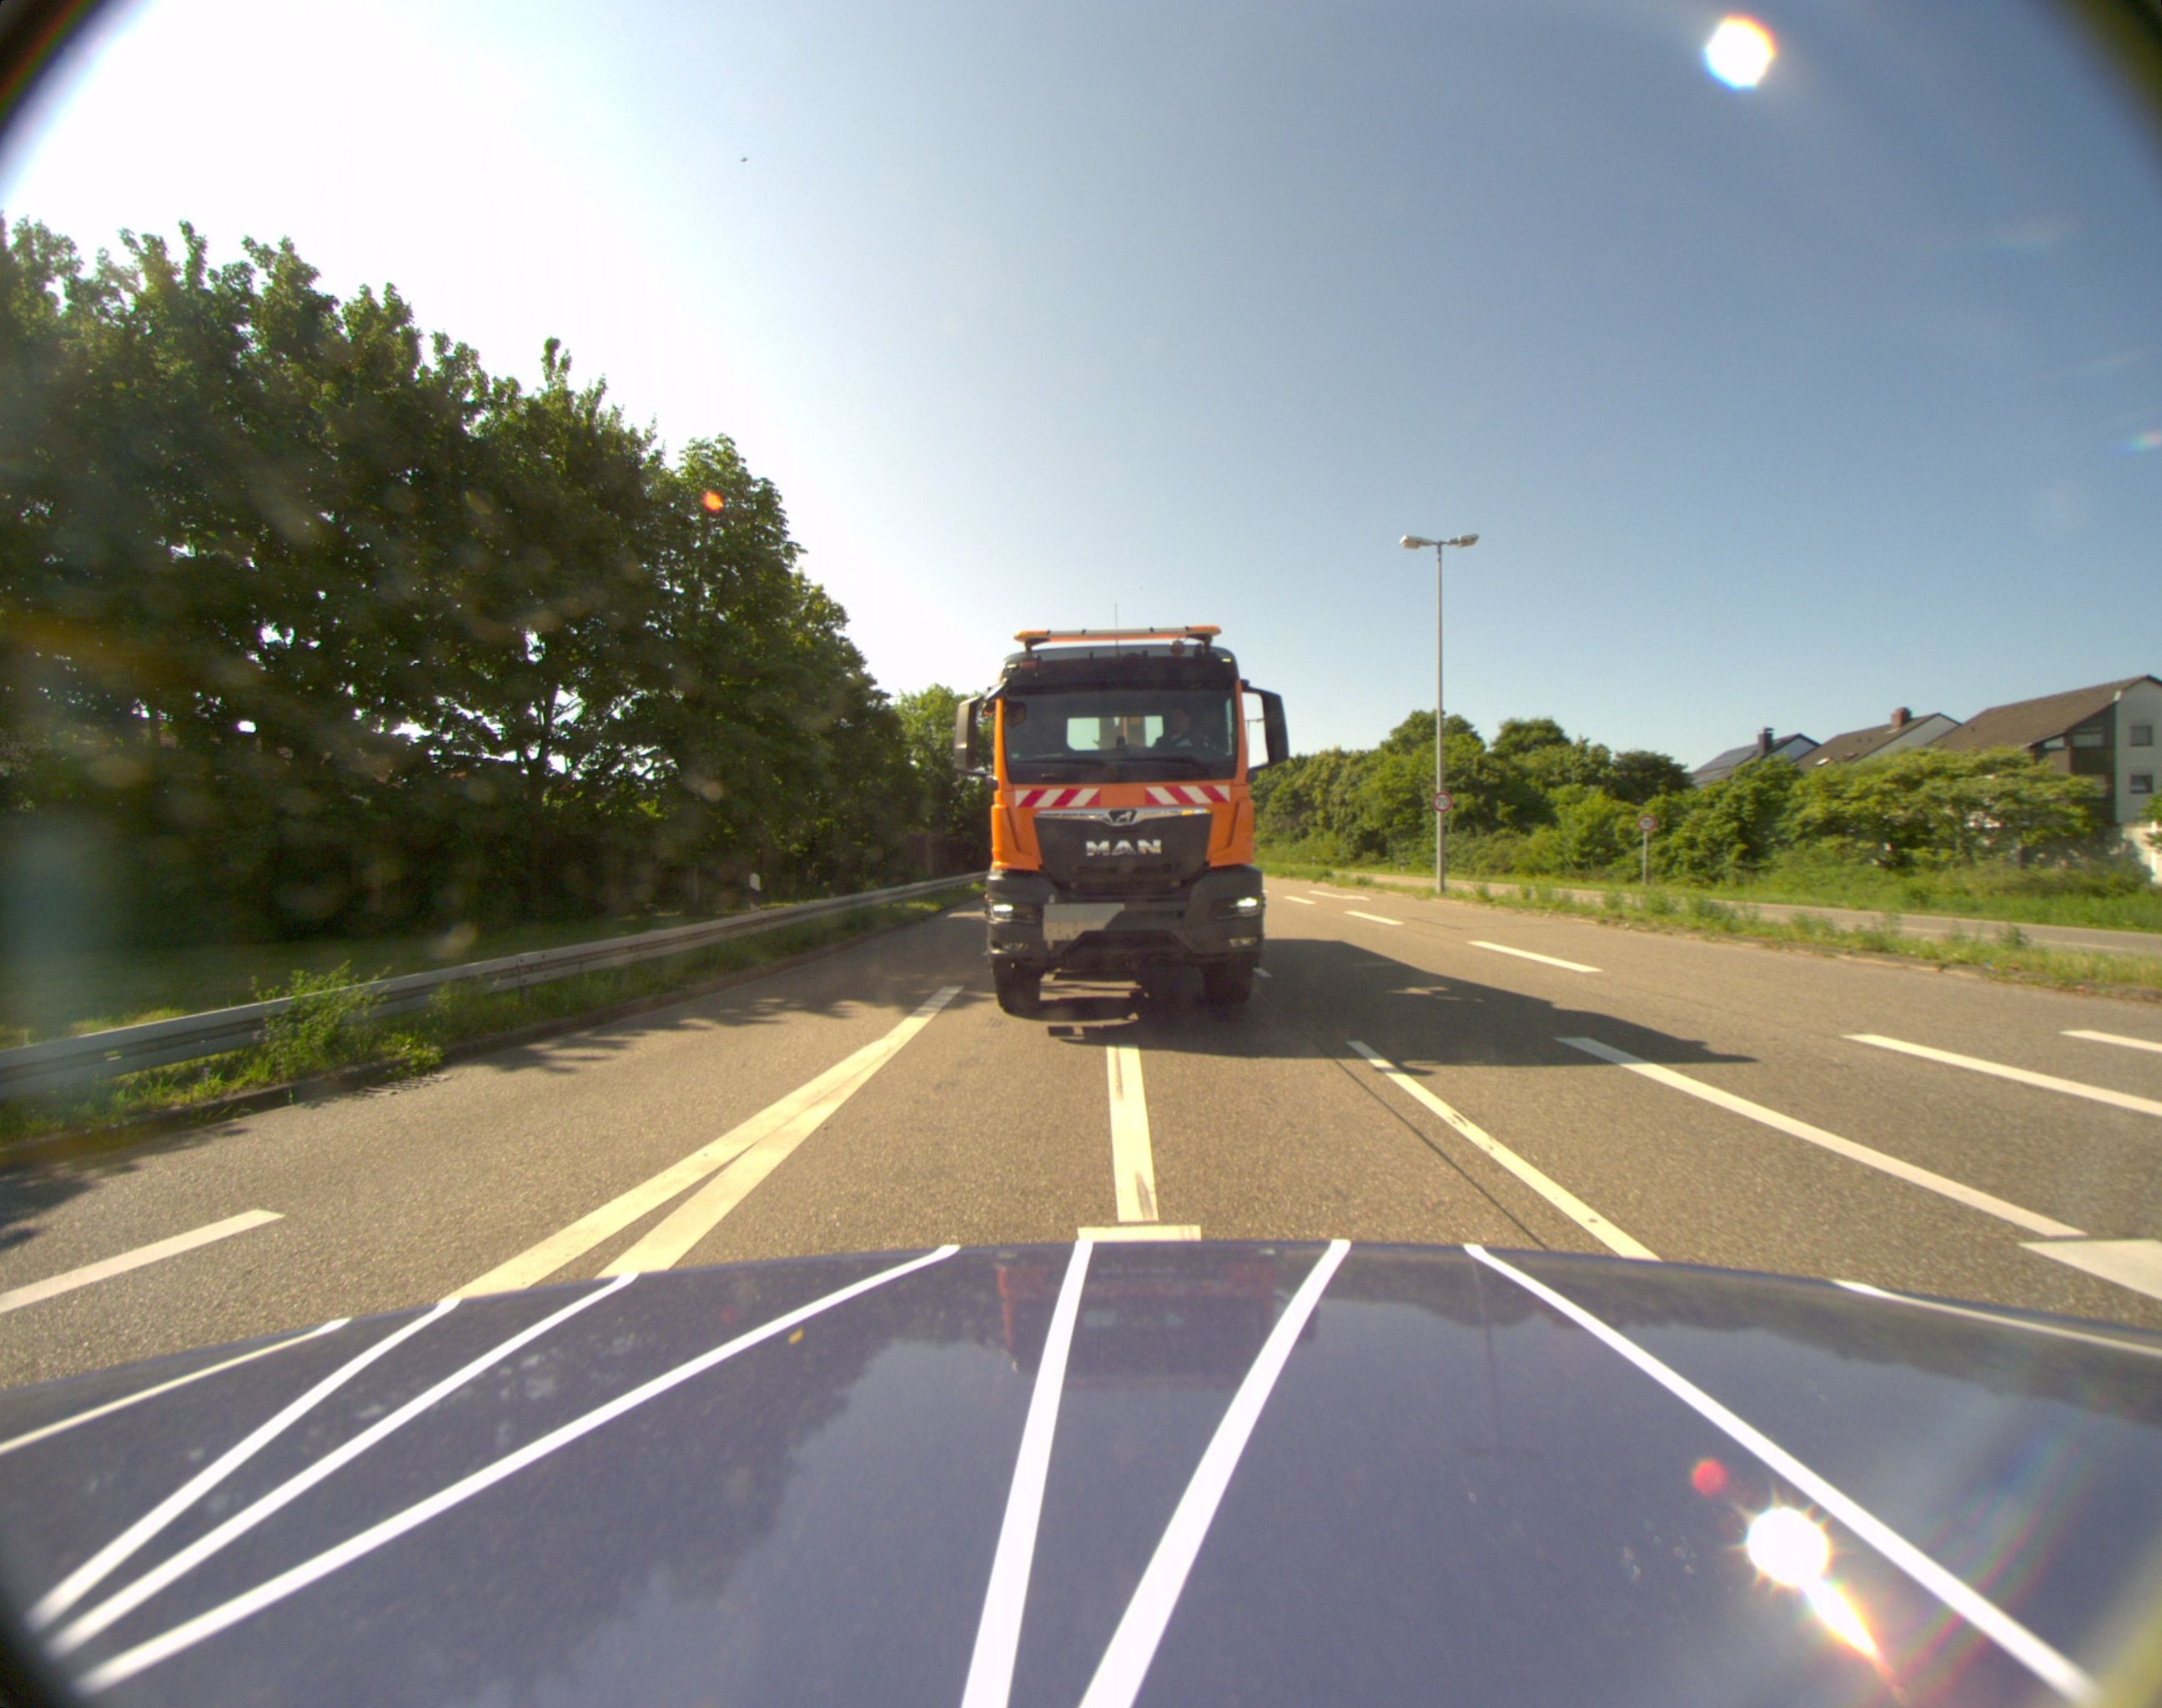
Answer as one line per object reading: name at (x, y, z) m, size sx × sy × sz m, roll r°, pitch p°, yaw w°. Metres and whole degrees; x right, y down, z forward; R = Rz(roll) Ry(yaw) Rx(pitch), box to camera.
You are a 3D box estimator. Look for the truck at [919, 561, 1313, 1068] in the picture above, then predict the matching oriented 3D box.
truck at (0.421, -0.325, 9.253) m, size 2.940 × 3.853 × 6.591 m, roll -2°, pitch 1°, yaw 3°
